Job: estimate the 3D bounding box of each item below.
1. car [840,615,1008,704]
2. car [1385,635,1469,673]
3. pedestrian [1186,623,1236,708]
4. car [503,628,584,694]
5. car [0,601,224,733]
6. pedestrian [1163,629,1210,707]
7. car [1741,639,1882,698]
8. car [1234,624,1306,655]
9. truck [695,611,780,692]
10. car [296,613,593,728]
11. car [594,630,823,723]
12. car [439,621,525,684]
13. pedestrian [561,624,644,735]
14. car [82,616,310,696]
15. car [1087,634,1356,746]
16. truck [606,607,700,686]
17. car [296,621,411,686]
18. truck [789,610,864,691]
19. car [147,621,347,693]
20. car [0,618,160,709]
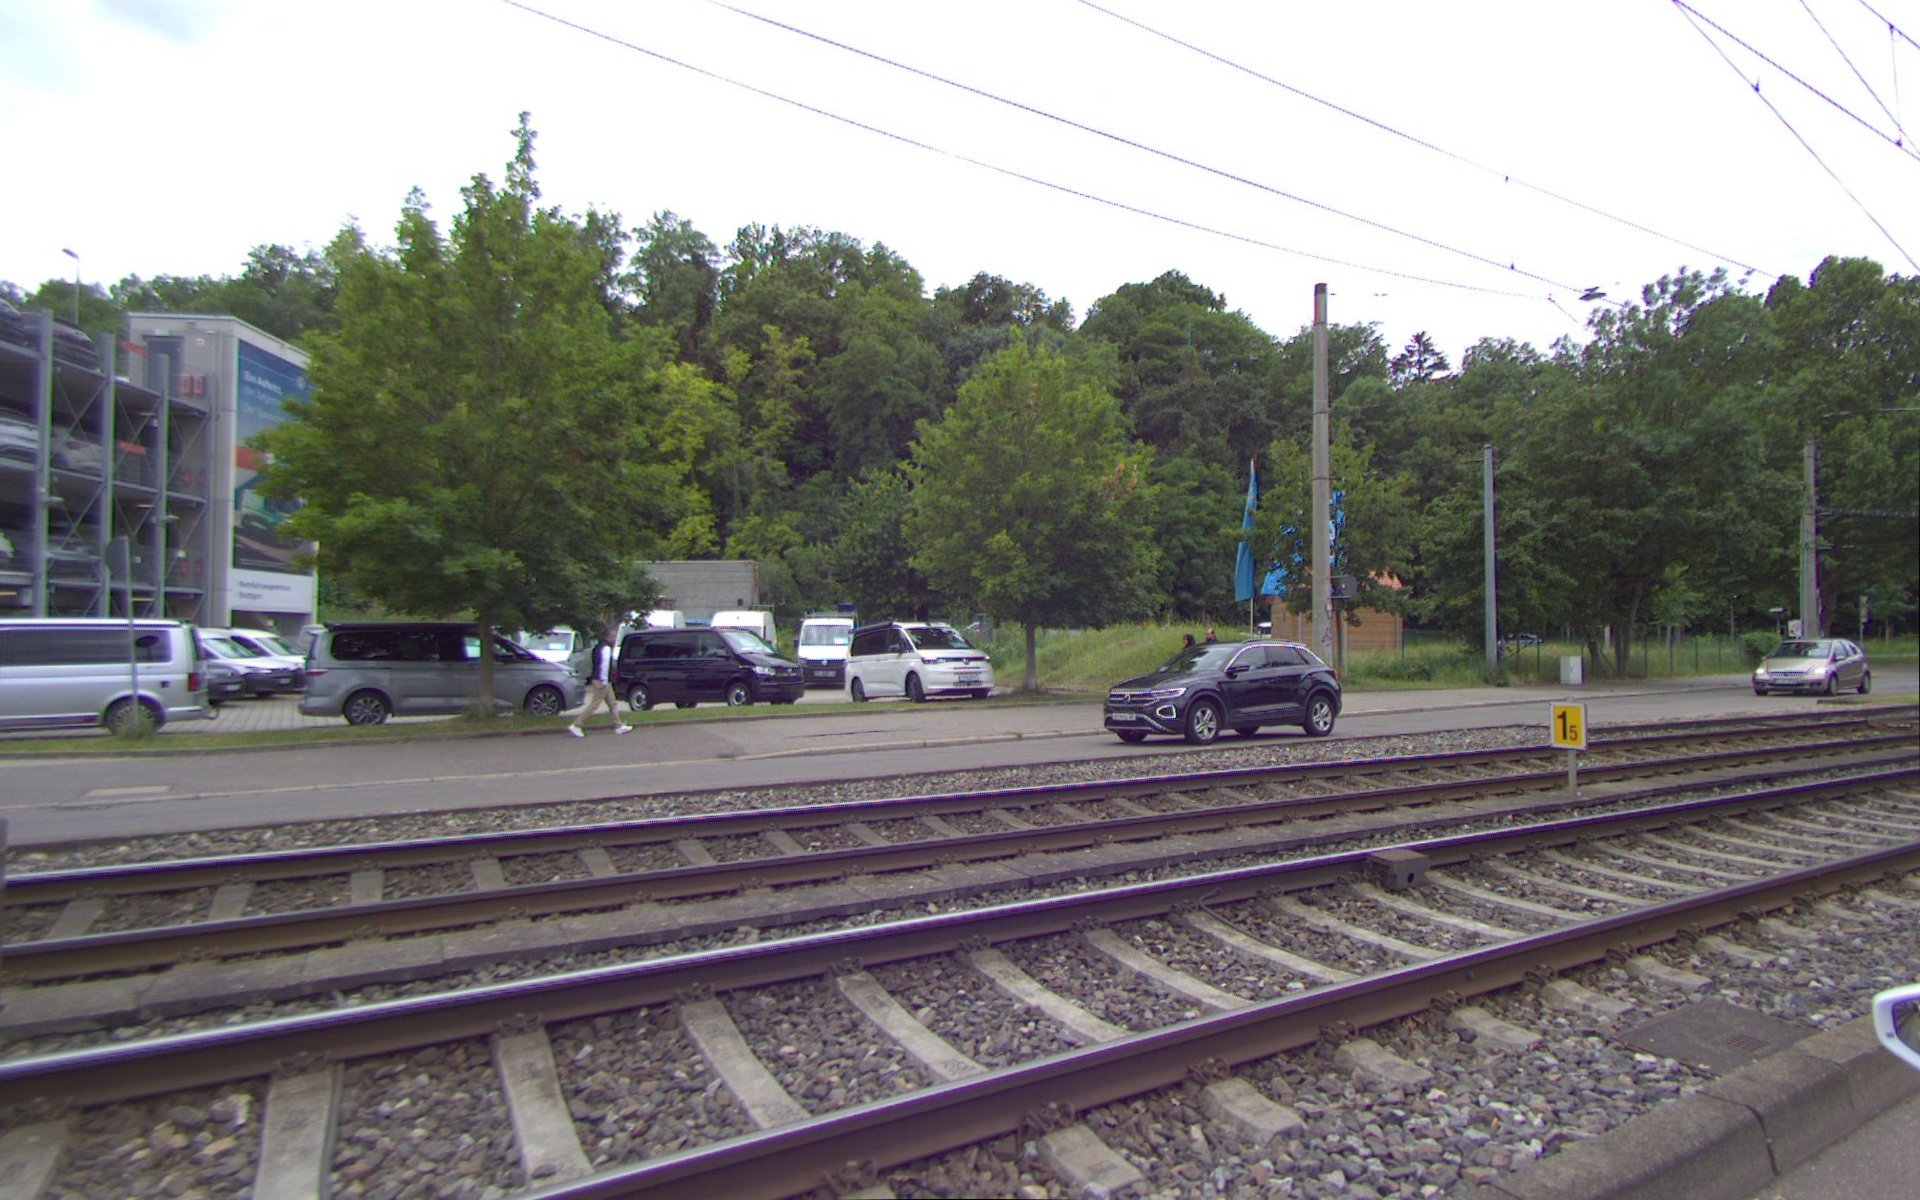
[{"bbox_3d":[-1.014,1.374,24.392,2.139,1.912,5.036,1,-2,-28],"label":"car"},{"bbox_3d":[23.065,2.642,49.614,3.956,1.773,1.983,2,-3,-32],"label":"car"},{"bbox_3d":[5.594,1.452,22.418,0.845,1.837,0.673,1,0,-30],"label":"pedestrian"},{"bbox_3d":[-13.795,1.982,33.462,1.967,2.040,3.988,1,-2,-15],"label":"car"},{"bbox_3d":[-15.180,1.071,16.515,4.870,2.040,1.981,2,-3,-35],"label":"car"},{"bbox_3d":[5.172,1.537,22.951,0.845,1.736,0.625,1,0,-30],"label":"pedestrian"},{"bbox_3d":[24.339,1.954,28.696,4.211,1.551,1.881,2,-5,-33],"label":"car"},{"bbox_3d":[21.163,2.670,68.670,4.317,2.040,2.000,1,-2,-2],"label":"car"},{"bbox_3d":[-7.761,1.782,35.657,2.423,2.622,5.772,0,-2,-8],"label":"truck"},{"bbox_3d":[-10.249,1.340,20.158,5.078,2.040,1.981,2,-3,-35],"label":"car"},{"bbox_3d":[-6.011,1.765,24.088,4.973,2.040,2.166,-1,-2,21],"label":"car"},{"bbox_3d":[-16.589,1.801,35.046,1.948,2.040,4.254,1,-2,-15],"label":"car"},{"bbox_3d":[-5.711,1.241,16.053,1.034,1.678,0.712,1,0,-40],"label":"pedestrian"},{"bbox_3d":[-20.295,1.483,26.865,4.384,2.039,1.998,0,-2,-7],"label":"car"},{"bbox_3d":[4.178,1.366,15.841,4.211,1.551,1.678,2,-5,-33],"label":"car"},{"bbox_3d":[-10.897,1.655,36.063,2.423,2.622,5.067,0,-2,-8],"label":"truck"},{"bbox_3d":[-20.379,1.725,33.715,4.212,2.040,1.992,-1,-1,39],"label":"car"},{"bbox_3d":[-4.709,1.750,35.421,2.423,2.622,5.067,0,-2,-8],"label":"truck"},{"bbox_3d":[-20.928,1.656,29.646,4.381,2.039,2.000,0,-2,-3],"label":"car"},{"bbox_3d":[-20.110,1.324,21.363,4.384,1.855,1.998,0,-2,-7],"label":"car"}]
